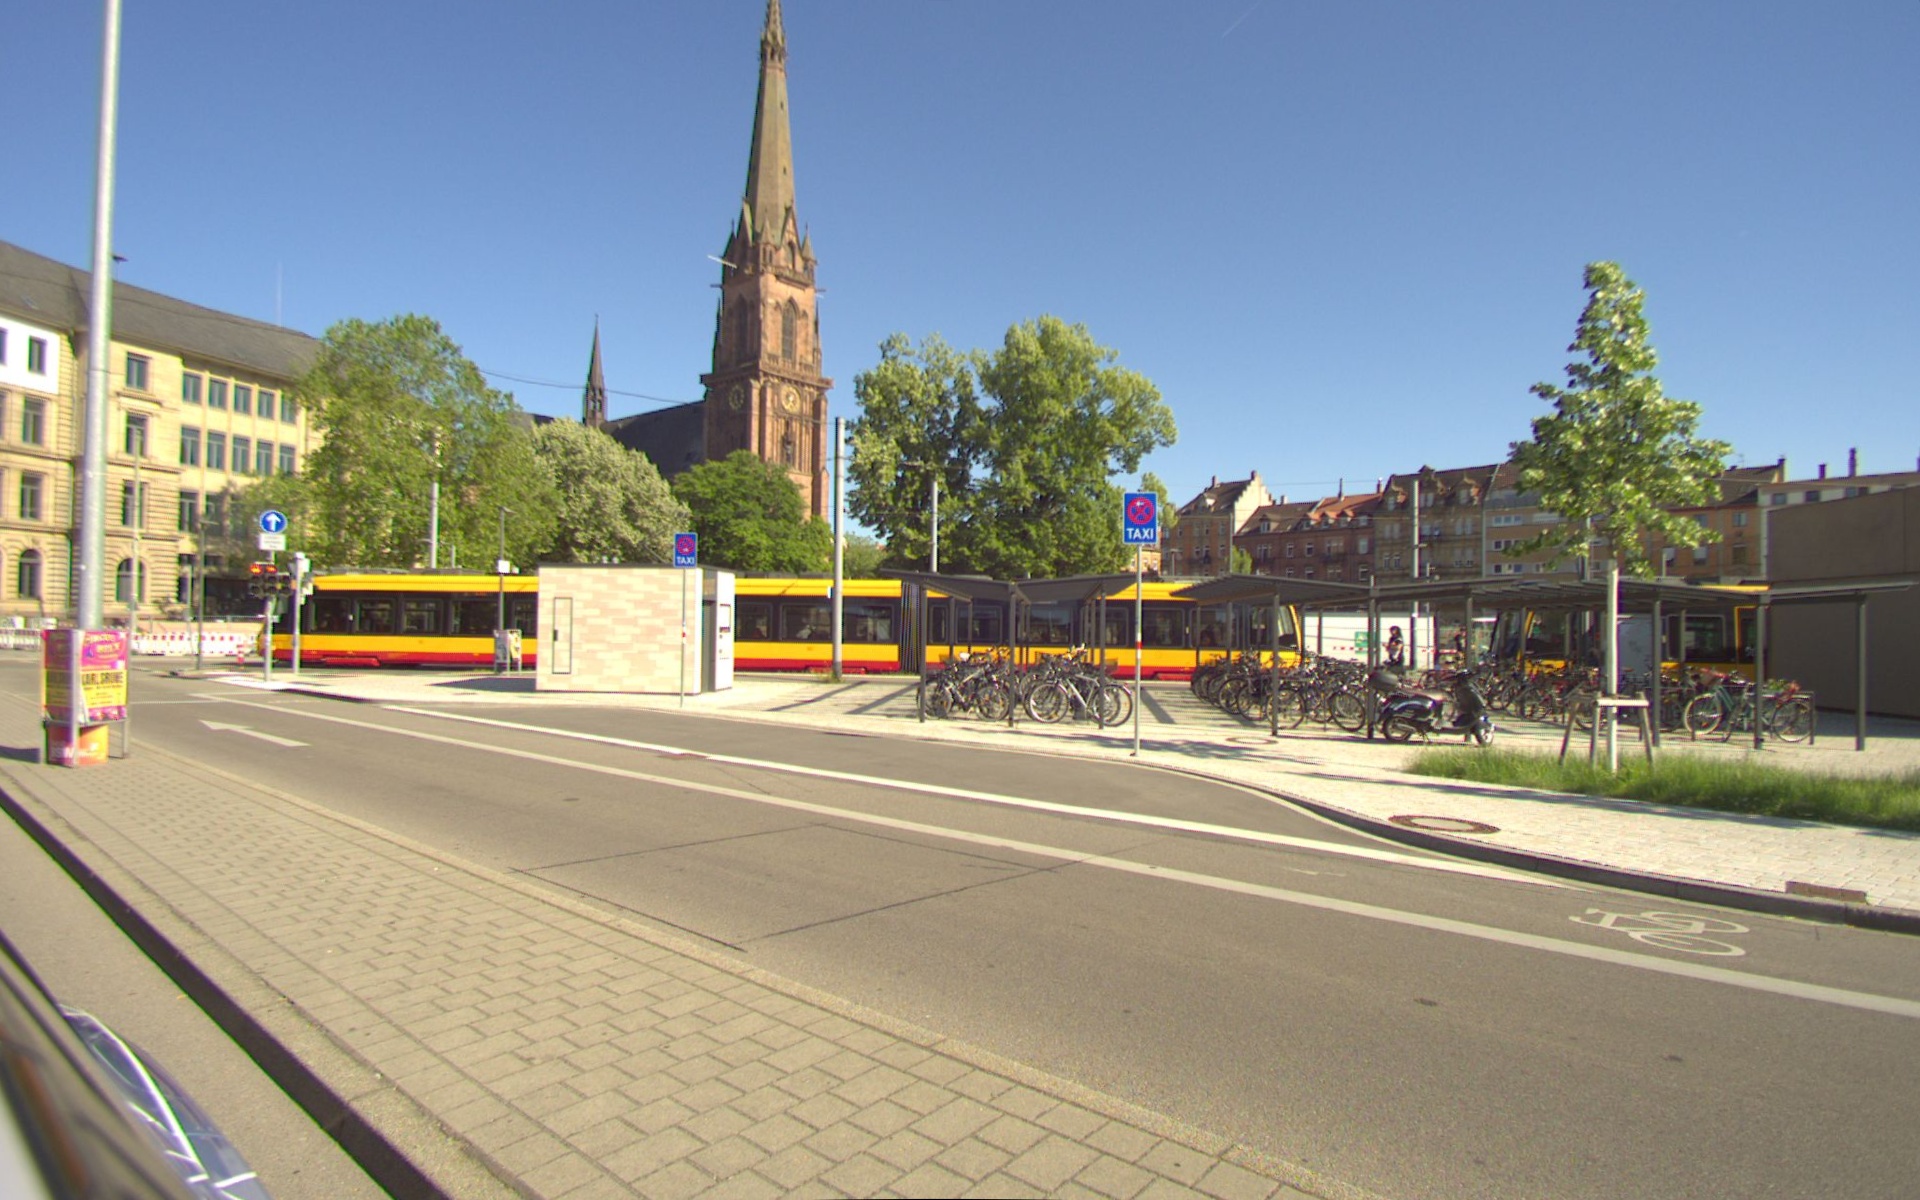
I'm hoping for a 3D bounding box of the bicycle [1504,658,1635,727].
[{"bbox_3d":[11.298,1.702,18.798,2.029,1.218,0.505,0,-2,8],"label":"bicycle"}]

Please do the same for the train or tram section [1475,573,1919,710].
[{"bbox_3d":[21.594,1.123,28.699,12.179,3.628,2.748,0,-2,7],"label":"train or tram section"}]

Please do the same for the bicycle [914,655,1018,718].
[{"bbox_3d":[0.117,1.538,18.234,1.809,1.074,0.627,0,-2,9],"label":"bicycle"}]

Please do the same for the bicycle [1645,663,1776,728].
[{"bbox_3d":[13.591,1.715,18.357,1.808,1.101,0.627,0,-2,7],"label":"bicycle"}]

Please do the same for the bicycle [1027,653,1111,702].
[{"bbox_3d":[2.379,1.687,22.121,1.808,1.015,0.627,0,-2,7],"label":"bicycle"}]

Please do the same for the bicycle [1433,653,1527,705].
[{"bbox_3d":[12.002,1.813,23.400,1.809,1.140,0.627,0,-2,9],"label":"bicycle"}]

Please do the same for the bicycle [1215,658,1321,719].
[{"bbox_3d":[5.877,1.682,19.407,1.859,1.101,0.626,0,-2,8],"label":"bicycle"}]

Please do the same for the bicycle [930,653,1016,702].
[{"bbox_3d":[0.291,1.690,22.169,1.809,1.015,0.627,0,-2,9],"label":"bicycle"}]

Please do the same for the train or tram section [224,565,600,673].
[{"bbox_3d":[-19.478,0.662,36.250,12.382,3.628,2.796,0,-2,6],"label":"train or tram section"}]

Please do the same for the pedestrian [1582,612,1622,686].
[{"bbox_3d":[16.438,1.237,25.921,0.595,1.869,0.683,2,-2,-38],"label":"pedestrian"}]

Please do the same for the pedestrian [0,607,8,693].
[{"bbox_3d":[-21.352,1.068,21.606,0.822,1.869,1.220,0,-2,22],"label":"pedestrian"}]

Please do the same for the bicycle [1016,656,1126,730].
[{"bbox_3d":[1.866,1.556,17.131,1.808,1.167,0.627,1,-2,7],"label":"bicycle"}]

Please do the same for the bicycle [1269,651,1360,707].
[{"bbox_3d":[7.930,1.766,22.676,1.808,1.198,0.647,0,-2,7],"label":"bicycle"}]

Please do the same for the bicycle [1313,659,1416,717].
[{"bbox_3d":[8.075,1.746,20.259,1.808,1.088,0.627,0,-2,7],"label":"bicycle"}]

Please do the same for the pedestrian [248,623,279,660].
[{"bbox_3d":[-33.719,2.017,48.993,0.920,1.754,0.807,1,-2,-8],"label":"pedestrian"}]

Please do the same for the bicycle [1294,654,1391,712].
[{"bbox_3d":[8.112,1.745,21.525,1.808,1.170,0.627,0,-2,7],"label":"bicycle"}]

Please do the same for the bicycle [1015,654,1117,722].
[{"bbox_3d":[1.911,1.577,18.273,1.808,1.157,0.627,0,-2,7],"label":"bicycle"}]

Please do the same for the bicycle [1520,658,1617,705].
[{"bbox_3d":[14.054,1.879,23.403,1.808,1.015,0.627,0,-2,7],"label":"bicycle"}]

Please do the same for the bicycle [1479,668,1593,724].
[{"bbox_3d":[11.263,1.872,19.838,1.809,1.015,0.627,0,-2,9],"label":"bicycle"}]

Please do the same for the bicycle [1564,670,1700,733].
[{"bbox_3d":[11.604,1.741,17.523,1.872,1.004,0.499,0,-2,13],"label":"bicycle"}]

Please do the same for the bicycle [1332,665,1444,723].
[{"bbox_3d":[8.001,1.748,18.968,1.808,1.015,0.627,0,-2,7],"label":"bicycle"}]

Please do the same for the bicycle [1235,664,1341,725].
[{"bbox_3d":[5.854,1.685,18.129,1.731,1.015,0.547,0,-2,10],"label":"bicycle"}]

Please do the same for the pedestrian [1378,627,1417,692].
[{"bbox_3d":[11.402,1.536,26.374,0.762,1.672,0.604,0,-2,4],"label":"pedestrian"}]

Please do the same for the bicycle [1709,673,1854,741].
[{"bbox_3d":[13.021,1.694,16.074,1.803,1.015,0.629,1,-2,-3],"label":"bicycle"}]

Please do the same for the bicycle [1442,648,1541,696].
[{"bbox_3d":[11.688,1.576,22.304,1.809,1.015,0.627,0,-2,9],"label":"bicycle"}]

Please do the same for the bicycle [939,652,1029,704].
[{"bbox_3d":[0.514,1.615,21.137,1.809,1.015,0.627,0,-2,9],"label":"bicycle"}]

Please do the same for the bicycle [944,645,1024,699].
[{"bbox_3d":[0.563,1.646,23.412,1.809,1.188,0.627,0,-2,9],"label":"bicycle"}]

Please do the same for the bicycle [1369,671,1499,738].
[{"bbox_3d":[7.769,1.703,16.648,1.808,1.015,0.627,0,-2,7],"label":"bicycle"}]

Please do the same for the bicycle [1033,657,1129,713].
[{"bbox_3d":[2.322,1.635,19.538,1.808,1.015,0.745,0,-2,7],"label":"bicycle"}]

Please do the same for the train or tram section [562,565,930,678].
[{"bbox_3d":[-7.232,0.716,34.949,12.174,3.628,2.796,0,-2,6],"label":"train or tram section"}]

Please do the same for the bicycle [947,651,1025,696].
[{"bbox_3d":[0.621,1.750,24.112,1.809,1.015,0.627,0,-2,9],"label":"bicycle"}]

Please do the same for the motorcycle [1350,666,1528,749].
[{"bbox_3d":[7.169,1.603,15.231,2.333,1.167,0.610,0,-2,7],"label":"motorcycle"}]

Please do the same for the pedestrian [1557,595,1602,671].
[{"bbox_3d":[15.494,0.826,25.304,0.700,1.869,0.751,2,-2,-38],"label":"pedestrian"}]

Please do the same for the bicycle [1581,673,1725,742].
[{"bbox_3d":[11.160,1.722,16.346,1.809,1.015,0.627,0,-2,9],"label":"bicycle"}]

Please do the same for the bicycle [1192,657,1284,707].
[{"bbox_3d":[5.971,1.756,21.803,1.805,1.015,0.629,0,-2,0],"label":"bicycle"}]

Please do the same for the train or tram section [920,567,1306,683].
[{"bbox_3d":[4.900,0.795,33.702,12.174,3.628,2.828,0,-2,6],"label":"train or tram section"}]

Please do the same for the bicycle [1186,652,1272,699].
[{"bbox_3d":[6.123,1.720,23.108,1.807,1.015,0.628,0,-2,5],"label":"bicycle"}]

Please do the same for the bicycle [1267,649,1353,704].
[{"bbox_3d":[8.237,1.784,23.873,1.808,1.242,0.627,0,-2,7],"label":"bicycle"}]

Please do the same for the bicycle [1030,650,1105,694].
[{"bbox_3d":[2.634,1.758,24.807,1.808,1.015,0.627,0,-2,7],"label":"bicycle"}]

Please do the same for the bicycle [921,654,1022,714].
[{"bbox_3d":[0.214,1.543,18.763,1.809,1.059,0.571,0,-2,9],"label":"bicycle"}]

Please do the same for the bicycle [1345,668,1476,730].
[{"bbox_3d":[7.920,1.730,17.874,2.003,1.015,0.627,0,-2,7],"label":"bicycle"}]

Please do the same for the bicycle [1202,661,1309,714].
[{"bbox_3d":[5.950,1.760,20.429,1.978,1.015,0.628,0,-2,4],"label":"bicycle"}]

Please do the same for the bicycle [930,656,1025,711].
[{"bbox_3d":[0.362,1.635,19.982,1.809,1.015,0.627,0,-2,9],"label":"bicycle"}]

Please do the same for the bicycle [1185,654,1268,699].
[{"bbox_3d":[6.252,1.785,23.796,1.808,1.015,0.627,0,-2,6],"label":"bicycle"}]

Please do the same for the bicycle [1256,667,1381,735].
[{"bbox_3d":[5.978,1.676,16.976,1.871,1.050,0.688,0,-2,9],"label":"bicycle"}]

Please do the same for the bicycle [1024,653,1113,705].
[{"bbox_3d":[2.230,1.609,20.846,1.808,1.015,0.627,0,-2,7],"label":"bicycle"}]

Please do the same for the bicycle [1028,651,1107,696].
[{"bbox_3d":[2.511,1.702,23.607,1.808,1.015,0.627,0,-2,7],"label":"bicycle"}]

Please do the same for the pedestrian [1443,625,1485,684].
[{"bbox_3d":[17.666,1.900,35.507,0.997,2.029,0.872,0,-2,0],"label":"pedestrian"}]

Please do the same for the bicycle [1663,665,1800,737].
[{"bbox_3d":[12.992,1.687,17.061,1.805,1.155,0.629,0,-2,0],"label":"bicycle"}]

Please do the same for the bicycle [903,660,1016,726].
[{"bbox_3d":[0.007,1.583,17.371,1.847,1.015,0.699,2,-2,9],"label":"bicycle"}]
